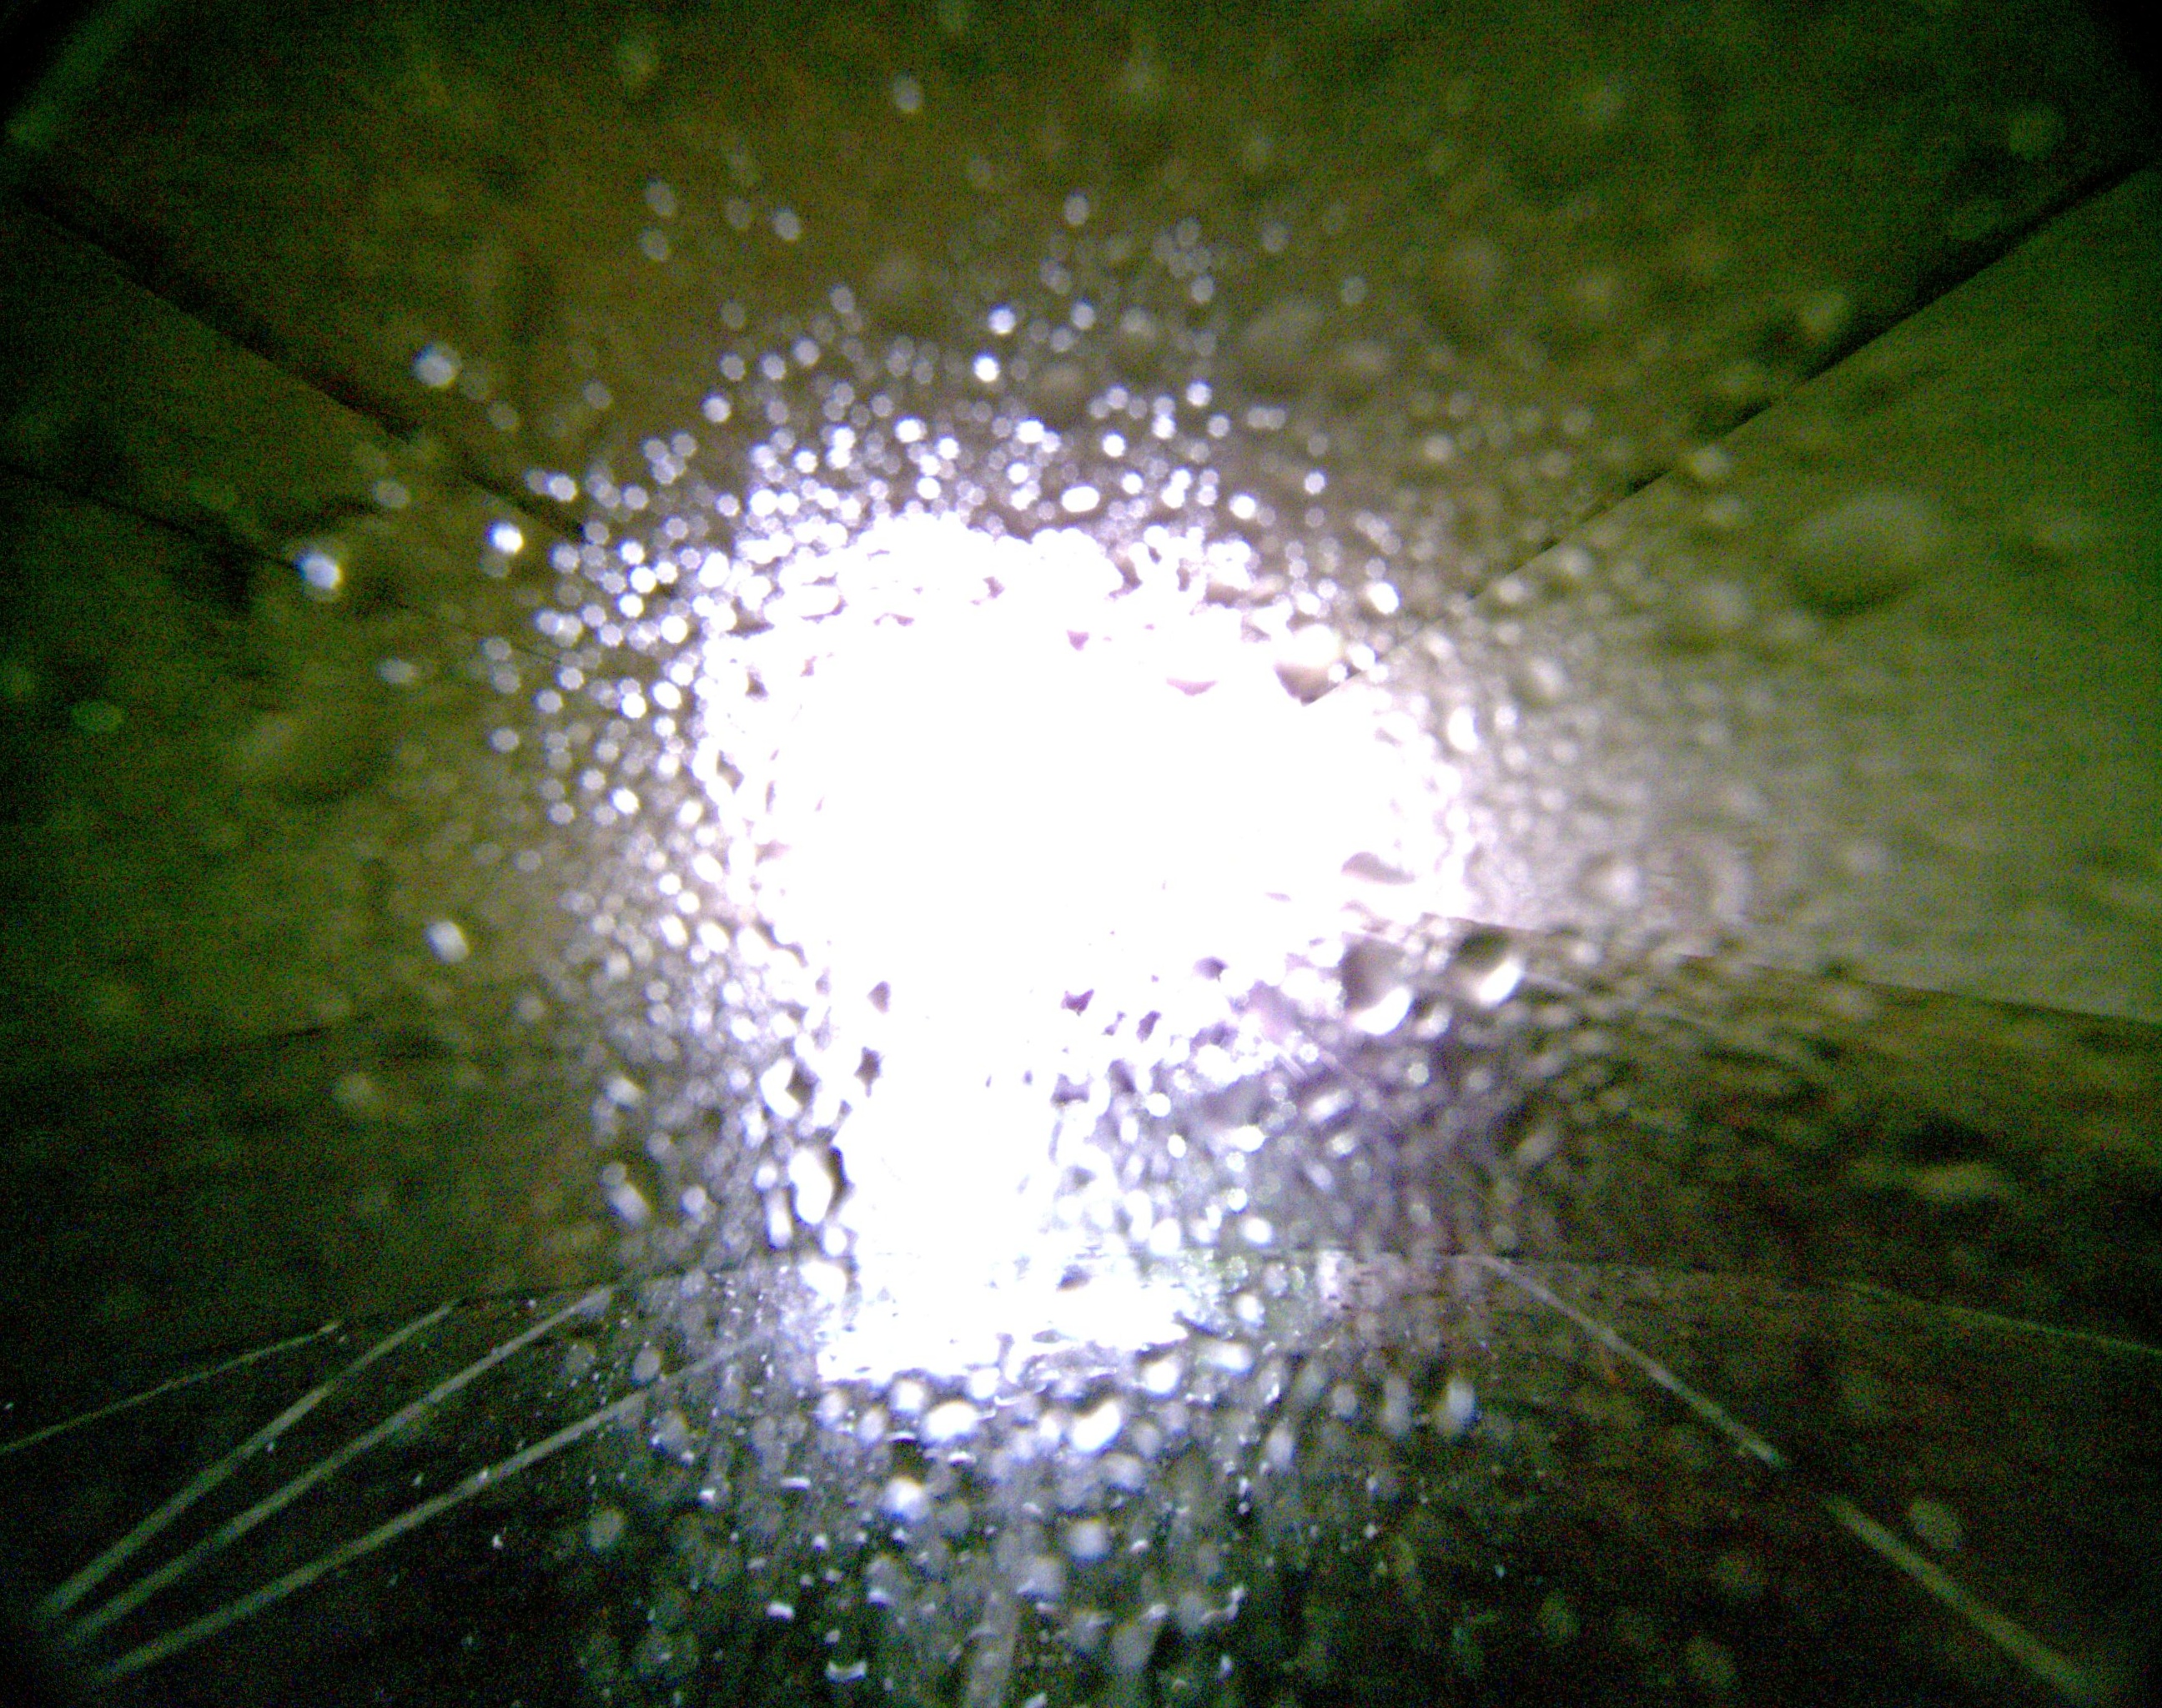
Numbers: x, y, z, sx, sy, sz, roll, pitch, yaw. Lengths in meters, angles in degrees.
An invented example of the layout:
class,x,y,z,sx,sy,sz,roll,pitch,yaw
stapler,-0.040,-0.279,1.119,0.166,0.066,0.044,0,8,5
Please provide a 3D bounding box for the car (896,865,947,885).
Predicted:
class,x,y,z,sx,sy,sz,roll,pitch,yaw
car,-13.682,1.780,65.319,3.863,1.523,1.715,-3,0,-34

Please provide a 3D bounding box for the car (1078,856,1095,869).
class,x,y,z,sx,sy,sz,roll,pitch,yaw
car,0.643,0.999,88.773,1.695,1.478,4.071,-2,0,-4

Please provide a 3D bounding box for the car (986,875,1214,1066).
class,x,y,z,sx,sy,sz,roll,pitch,yaw
car,0.099,0.994,8.366,1.767,1.315,4.548,-3,0,-2
